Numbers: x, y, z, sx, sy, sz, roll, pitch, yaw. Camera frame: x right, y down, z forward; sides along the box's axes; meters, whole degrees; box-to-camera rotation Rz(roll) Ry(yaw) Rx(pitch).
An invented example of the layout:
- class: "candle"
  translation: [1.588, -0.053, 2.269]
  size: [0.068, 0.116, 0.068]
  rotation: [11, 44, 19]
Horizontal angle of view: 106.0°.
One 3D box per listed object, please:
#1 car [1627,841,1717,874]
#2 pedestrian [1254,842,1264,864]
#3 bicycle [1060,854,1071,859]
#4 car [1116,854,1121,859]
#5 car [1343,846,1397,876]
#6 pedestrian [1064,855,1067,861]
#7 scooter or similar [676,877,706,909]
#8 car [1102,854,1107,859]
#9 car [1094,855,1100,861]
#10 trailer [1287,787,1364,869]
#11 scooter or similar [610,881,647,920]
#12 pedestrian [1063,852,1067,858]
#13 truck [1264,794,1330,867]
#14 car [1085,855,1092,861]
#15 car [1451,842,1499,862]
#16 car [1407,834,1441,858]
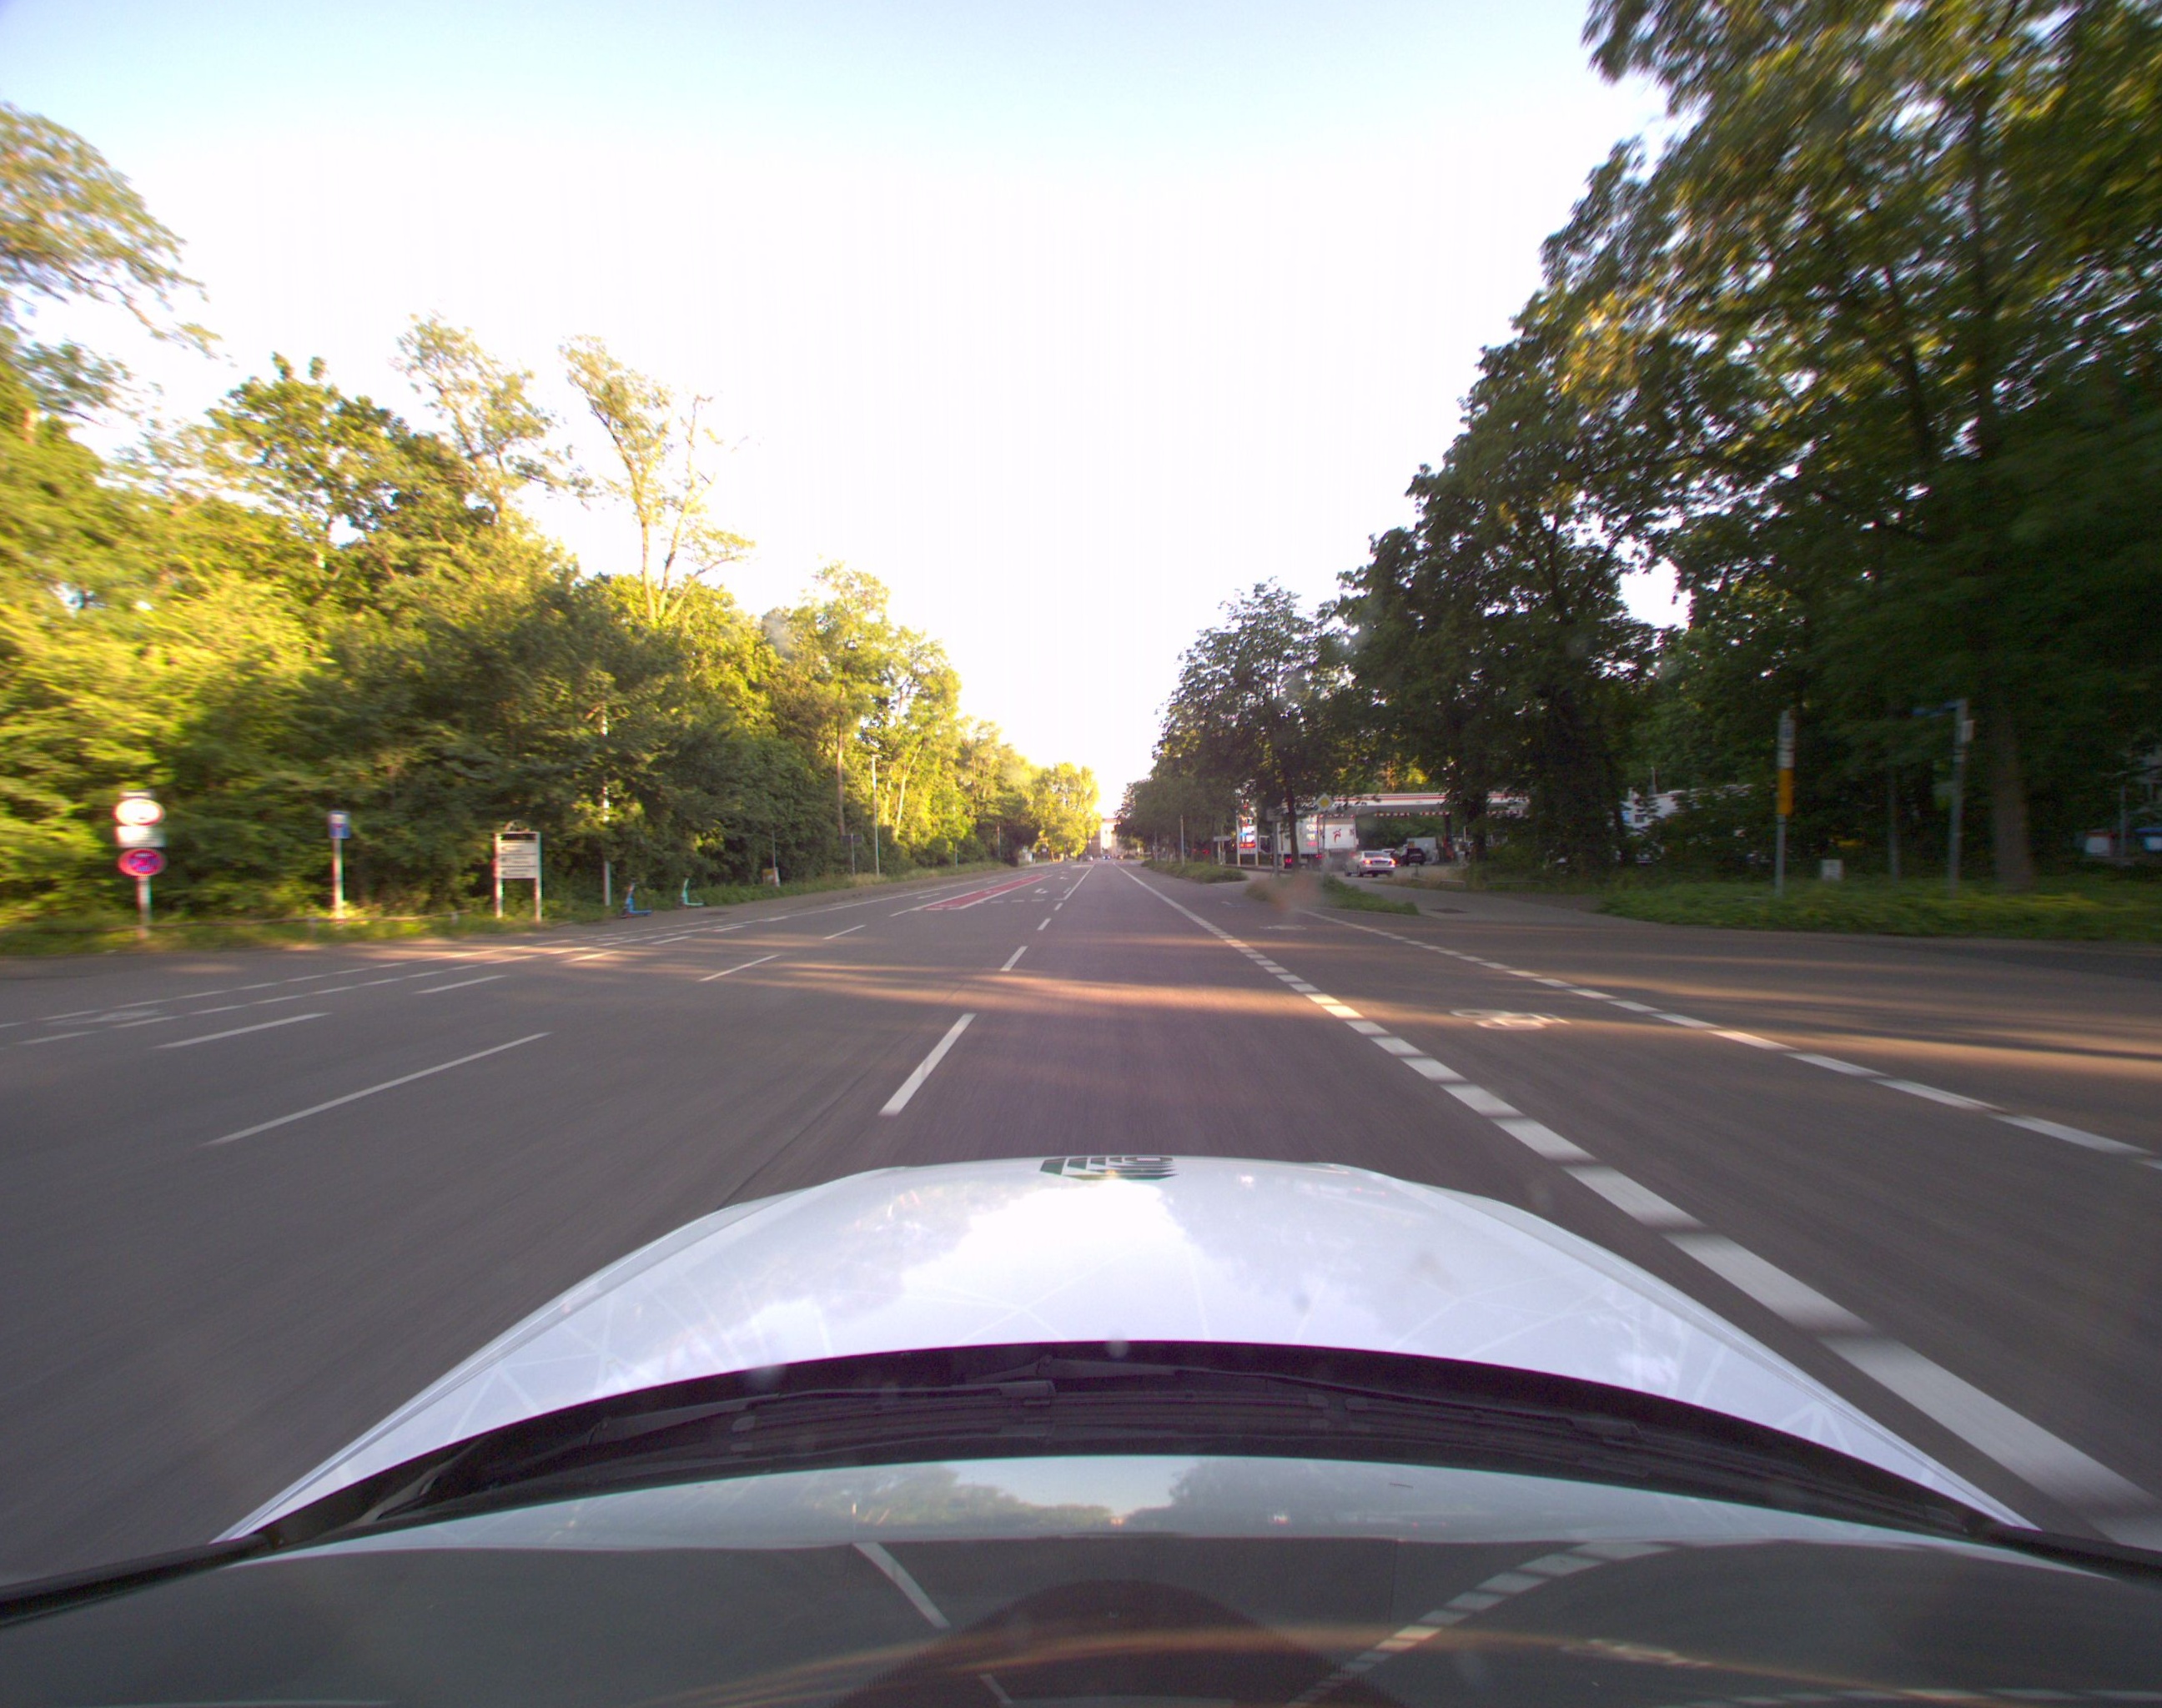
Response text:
- class: "car"
  translation: [31.121, 0.200, 42.884]
  size: [4.130, 1.522, 1.663]
  rotation: [-3, -1, -18]
- class: "pedestrian"
  translation: [15.204, -0.090, 69.662]
  size: [0.754, 1.798, 0.707]
  rotation: [0, 0, 5]
- class: "bicycle"
  translation: [-3.769, 0.516, 196.647]
  size: [2.447, 1.195, 0.759]
  rotation: [-2, -1, 11]
- class: "car"
  translation: [10.951, 0.801, 238.061]
  size: [1.487, 1.486, 3.492]
  rotation: [-2, 0, 2]
- class: "car"
  translation: [16.191, 0.378, 45.843]
  size: [1.761, 1.583, 4.826]
  rotation: [0, 0, 5]
- class: "pedestrian"
  translation: [-3.846, 0.929, 203.802]
  size: [0.786, 1.580, 0.748]
  rotation: [0, 0, 10]
- class: "scooter or similar"
  translation: [-13.509, 1.337, 28.198]
  size: [0.901, 1.068, 0.492]
  rotation: [-1, 0, -24]
- class: "car"
  translation: [6.931, 0.874, 243.352]
  size: [1.487, 1.486, 3.492]
  rotation: [-2, 0, 2]
- class: "car"
  translation: [3.893, 0.988, 197.535]
  size: [1.487, 1.486, 3.492]
  rotation: [-2, 0, 2]
- class: "trailer"
  translation: [17.349, -1.760, 58.439]
  size: [3.011, 5.462, 7.932]
  rotation: [-1, 0, 0]
- class: "scooter or similar"
  translation: [-13.658, 1.397, 24.576]
  size: [0.357, 1.110, 0.885]
  rotation: [-2, 0, 43]
- class: "pedestrian"
  translation: [-3.898, 0.282, 196.663]
  size: [0.786, 1.580, 0.748]
  rotation: [0, 0, 10]
- class: "truck"
  translation: [17.310, -1.837, 65.897]
  size: [3.024, 5.455, 8.407]
  rotation: [-1, 0, -1]
- class: "car"
  translation: [1.873, 0.976, 198.723]
  size: [1.487, 1.291, 3.492]
  rotation: [-2, 0, 2]
- class: "car"
  translation: [31.837, -0.151, 65.942]
  size: [1.978, 1.583, 4.628]
  rotation: [0, 0, 5]
- class: "car"
  translation: [33.734, -0.771, 80.199]
  size: [1.761, 2.347, 4.628]
  rotation: [0, 0, 5]
